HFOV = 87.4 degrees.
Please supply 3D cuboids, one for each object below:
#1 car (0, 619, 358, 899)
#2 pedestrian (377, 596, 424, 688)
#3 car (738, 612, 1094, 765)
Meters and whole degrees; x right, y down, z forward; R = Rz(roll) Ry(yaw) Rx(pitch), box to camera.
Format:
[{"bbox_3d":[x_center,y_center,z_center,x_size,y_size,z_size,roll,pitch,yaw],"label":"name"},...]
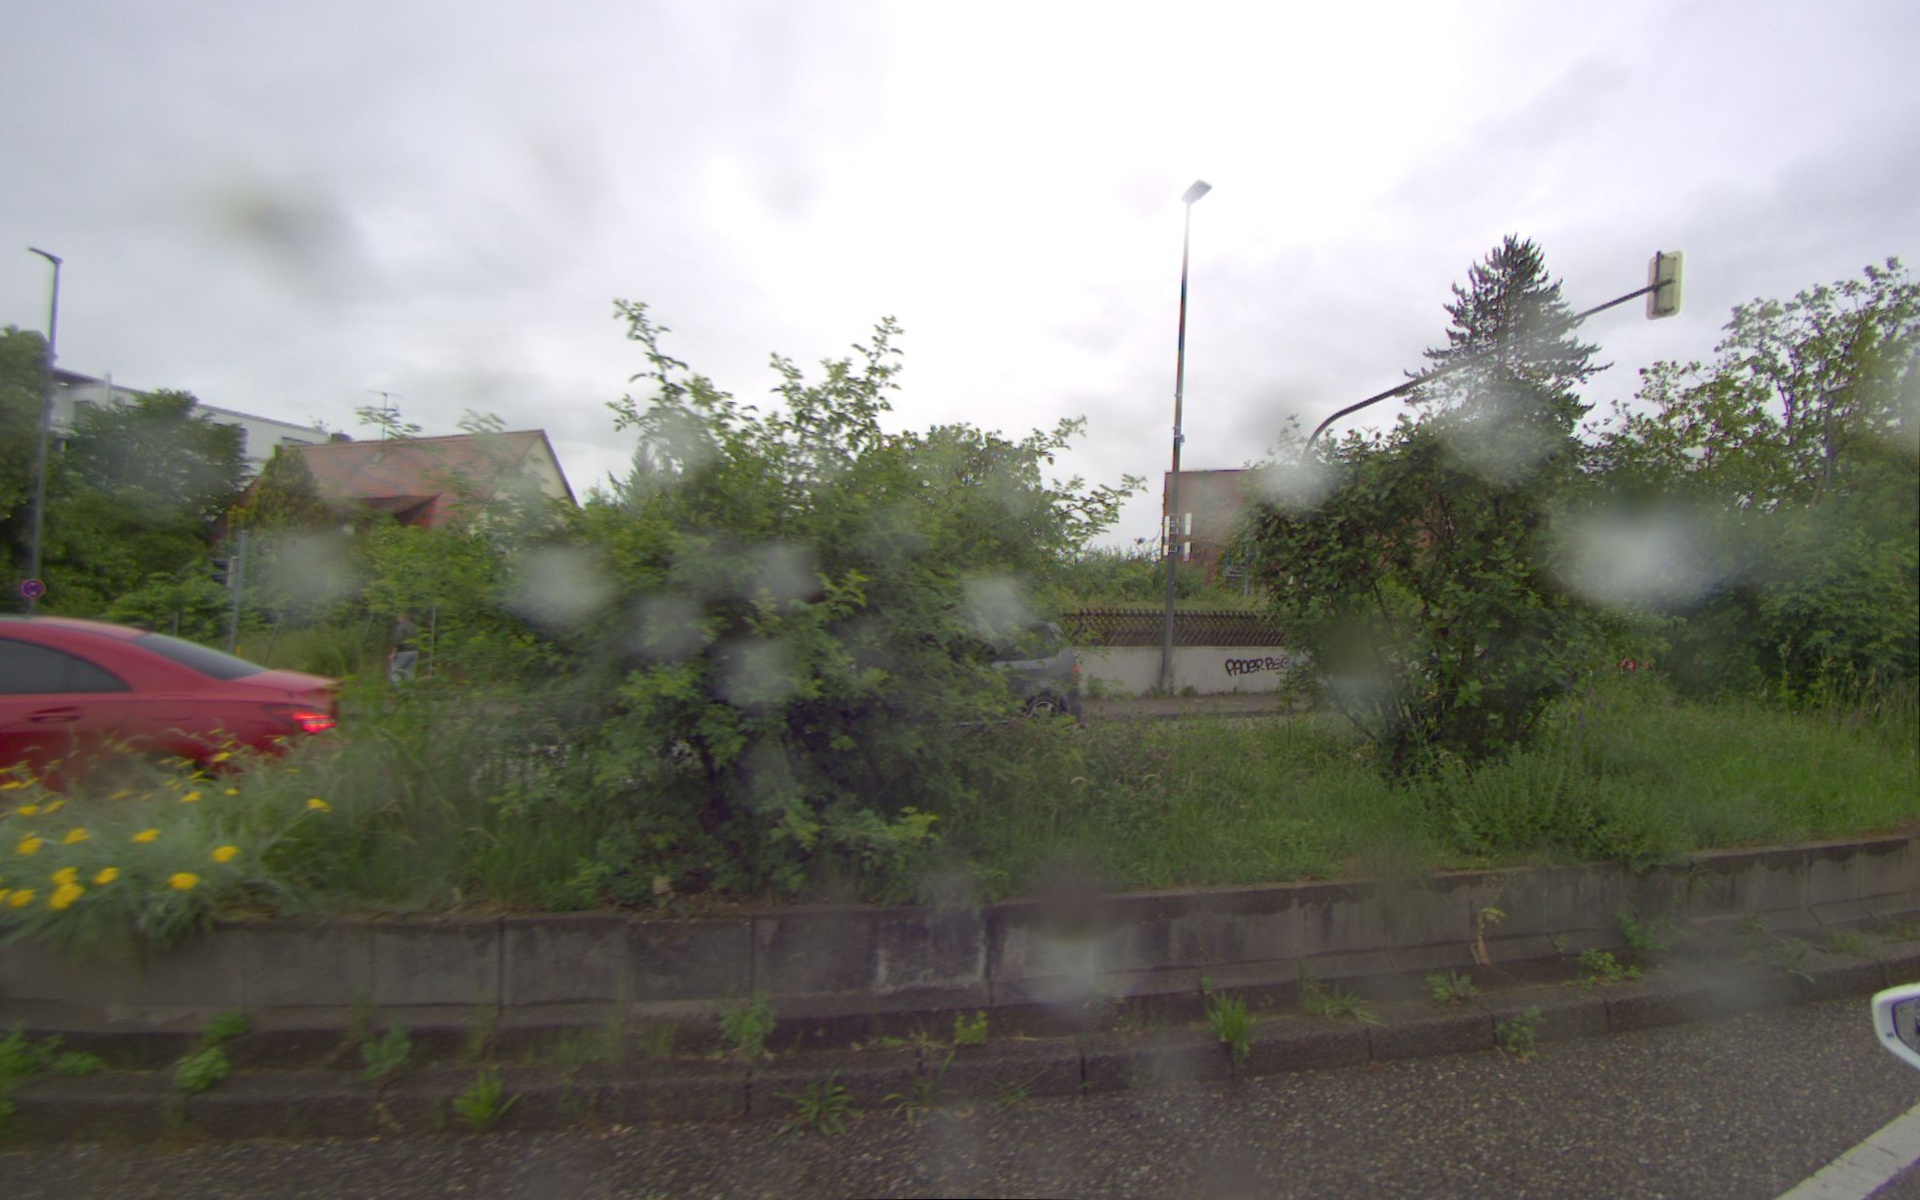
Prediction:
[{"bbox_3d":[-6.043,0.821,5.741,4.380,1.432,1.984,3,-2,-31],"label":"car"},{"bbox_3d":[-10.276,0.777,18.465,0.490,1.663,0.553,0,-3,1],"label":"pedestrian"},{"bbox_3d":[-0.512,1.011,12.443,3.954,1.599,1.984,2,-2,-31],"label":"car"}]
